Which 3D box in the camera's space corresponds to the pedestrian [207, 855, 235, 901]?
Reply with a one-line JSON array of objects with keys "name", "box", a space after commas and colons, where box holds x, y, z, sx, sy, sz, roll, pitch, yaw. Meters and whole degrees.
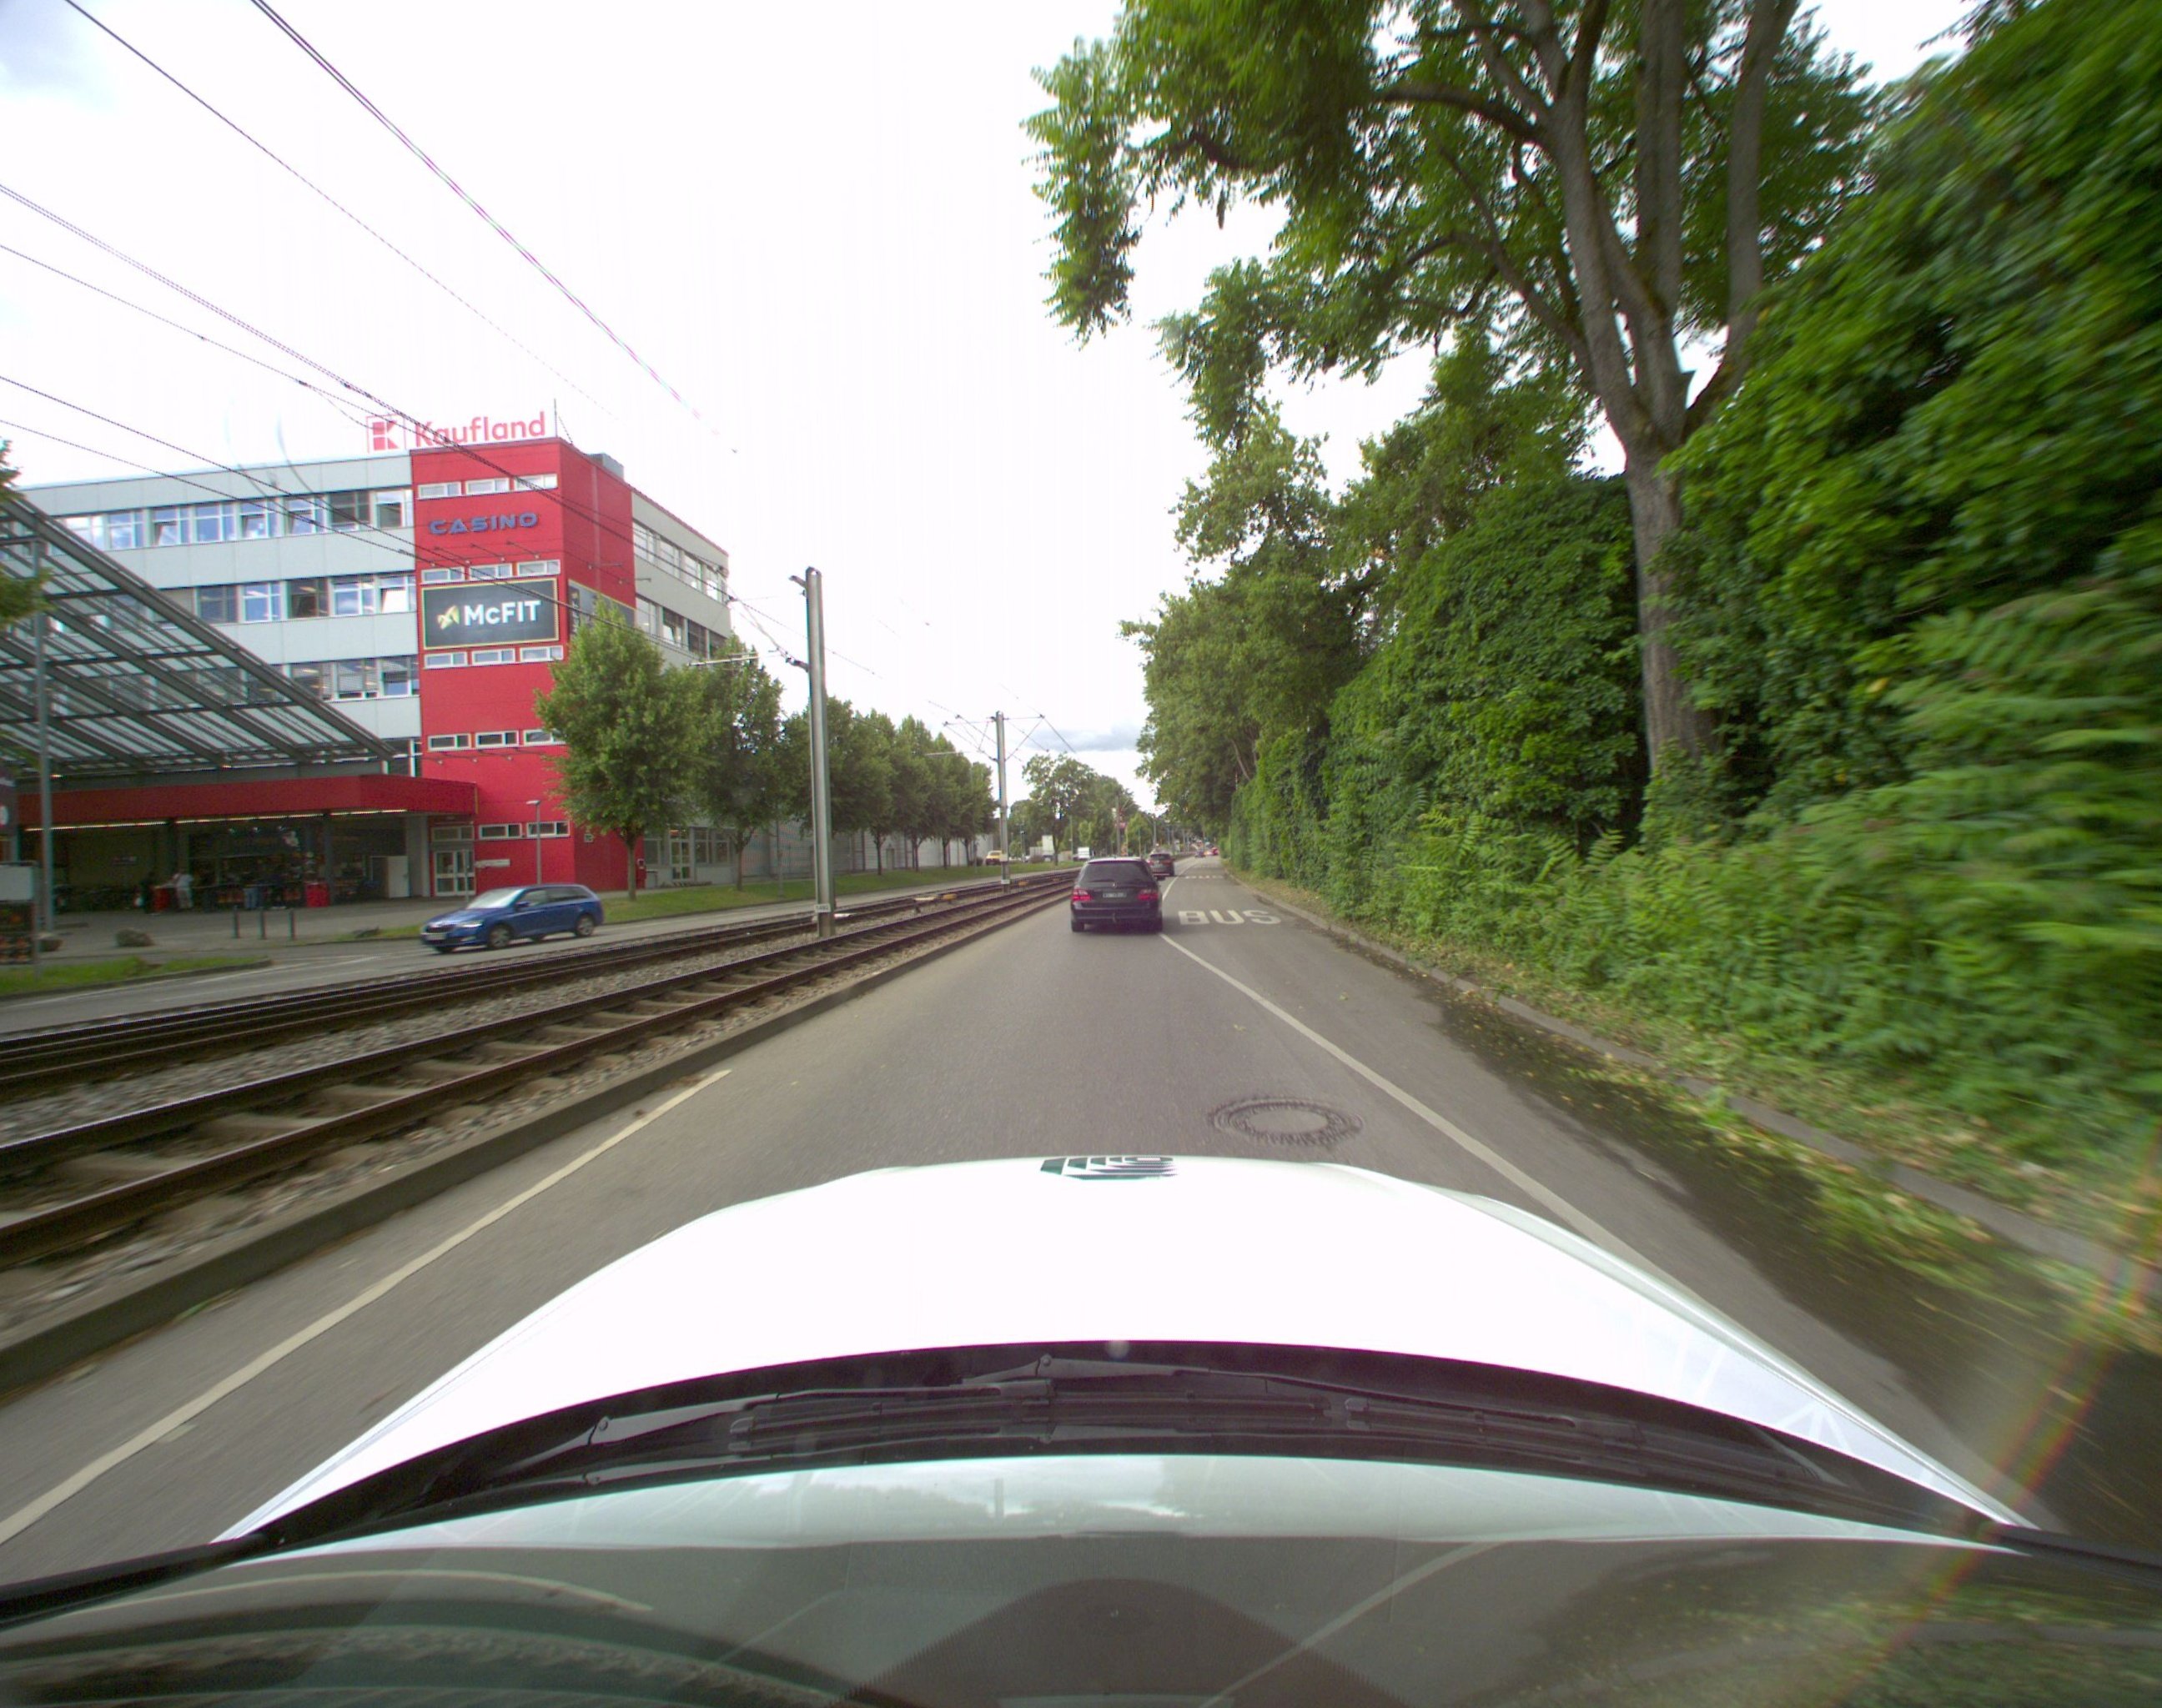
[{"name": "pedestrian", "box": [-38.854, 1.066, 36.796, 0.598, 2.013, 0.554, -4, -1, 7]}]

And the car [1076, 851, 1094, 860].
[{"name": "car", "box": [0.876, 0.298, 174.202, 3.684, 1.816, 1.793, -2, 0, -3]}]

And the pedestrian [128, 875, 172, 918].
[{"name": "pedestrian", "box": [-38.428, 1.748, 33.620, 0.734, 1.695, 0.868, -4, -1, 5]}]

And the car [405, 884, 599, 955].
[{"name": "car", "box": [-13.991, 1.531, 19.952, 1.649, 1.393, 3.730, -2, 0, 10]}]

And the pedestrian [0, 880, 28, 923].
[{"name": "pedestrian", "box": [-43.958, 1.954, 33.250, 0.734, 1.695, 0.868, -4, -1, 5]}]

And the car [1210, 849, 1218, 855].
[{"name": "car", "box": [35.534, -0.528, 217.838, 1.815, 1.530, 4.187, -2, 0, 7]}]

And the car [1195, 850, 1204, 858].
[{"name": "car", "box": [23.876, -0.015, 164.171, 1.815, 1.530, 4.425, -2, 0, 7]}]

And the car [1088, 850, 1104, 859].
[{"name": "car", "box": [3.390, 0.107, 185.349, 3.684, 1.816, 1.793, -2, 0, -3]}]

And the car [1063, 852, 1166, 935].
[{"name": "car", "box": [0.831, 0.731, 17.140, 1.824, 1.478, 4.423, -2, 0, 6]}]

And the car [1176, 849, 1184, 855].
[{"name": "car", "box": [24.699, -0.455, 203.070, 1.815, 1.530, 4.187, -2, 0, 7]}]

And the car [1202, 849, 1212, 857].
[{"name": "car", "box": [26.907, -0.191, 174.022, 1.815, 1.530, 4.187, -2, 0, 7]}]

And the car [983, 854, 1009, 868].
[{"name": "car", "box": [-10.820, 0.885, 104.316, 1.981, 1.743, 5.001, -2, 0, 9]}]

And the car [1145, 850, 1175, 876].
[{"name": "car", "box": [5.048, 0.536, 52.465, 1.816, 1.530, 4.422, -2, 0, 5]}]

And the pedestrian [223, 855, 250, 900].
[{"name": "pedestrian", "box": [-38.776, 1.080, 37.392, 0.598, 2.013, 0.554, -4, -1, 7]}]

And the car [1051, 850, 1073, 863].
[{"name": "car", "box": [-3.537, 0.507, 153.819, 3.974, 2.123, 2.000, -4, -1, 0]}]

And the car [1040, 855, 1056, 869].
[{"name": "car", "box": [-5.341, 1.292, 133.009, 1.984, 2.013, 4.006, -4, -1, 5]}]

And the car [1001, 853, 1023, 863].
[{"name": "car", "box": [-13.472, 0.861, 158.945, 3.987, 1.680, 1.993, -4, -1, -10]}]

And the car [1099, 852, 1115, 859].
[{"name": "car", "box": [6.634, 0.316, 208.366, 3.964, 1.644, 2.005, -2, 0, 8]}]

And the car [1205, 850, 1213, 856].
[{"name": "car", "box": [32.598, -0.175, 206.835, 1.815, 1.530, 4.187, -2, 0, 7]}]

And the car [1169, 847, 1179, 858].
[{"name": "car", "box": [18.824, -0.295, 165.667, 1.882, 2.013, 3.904, -4, -1, 6]}]
